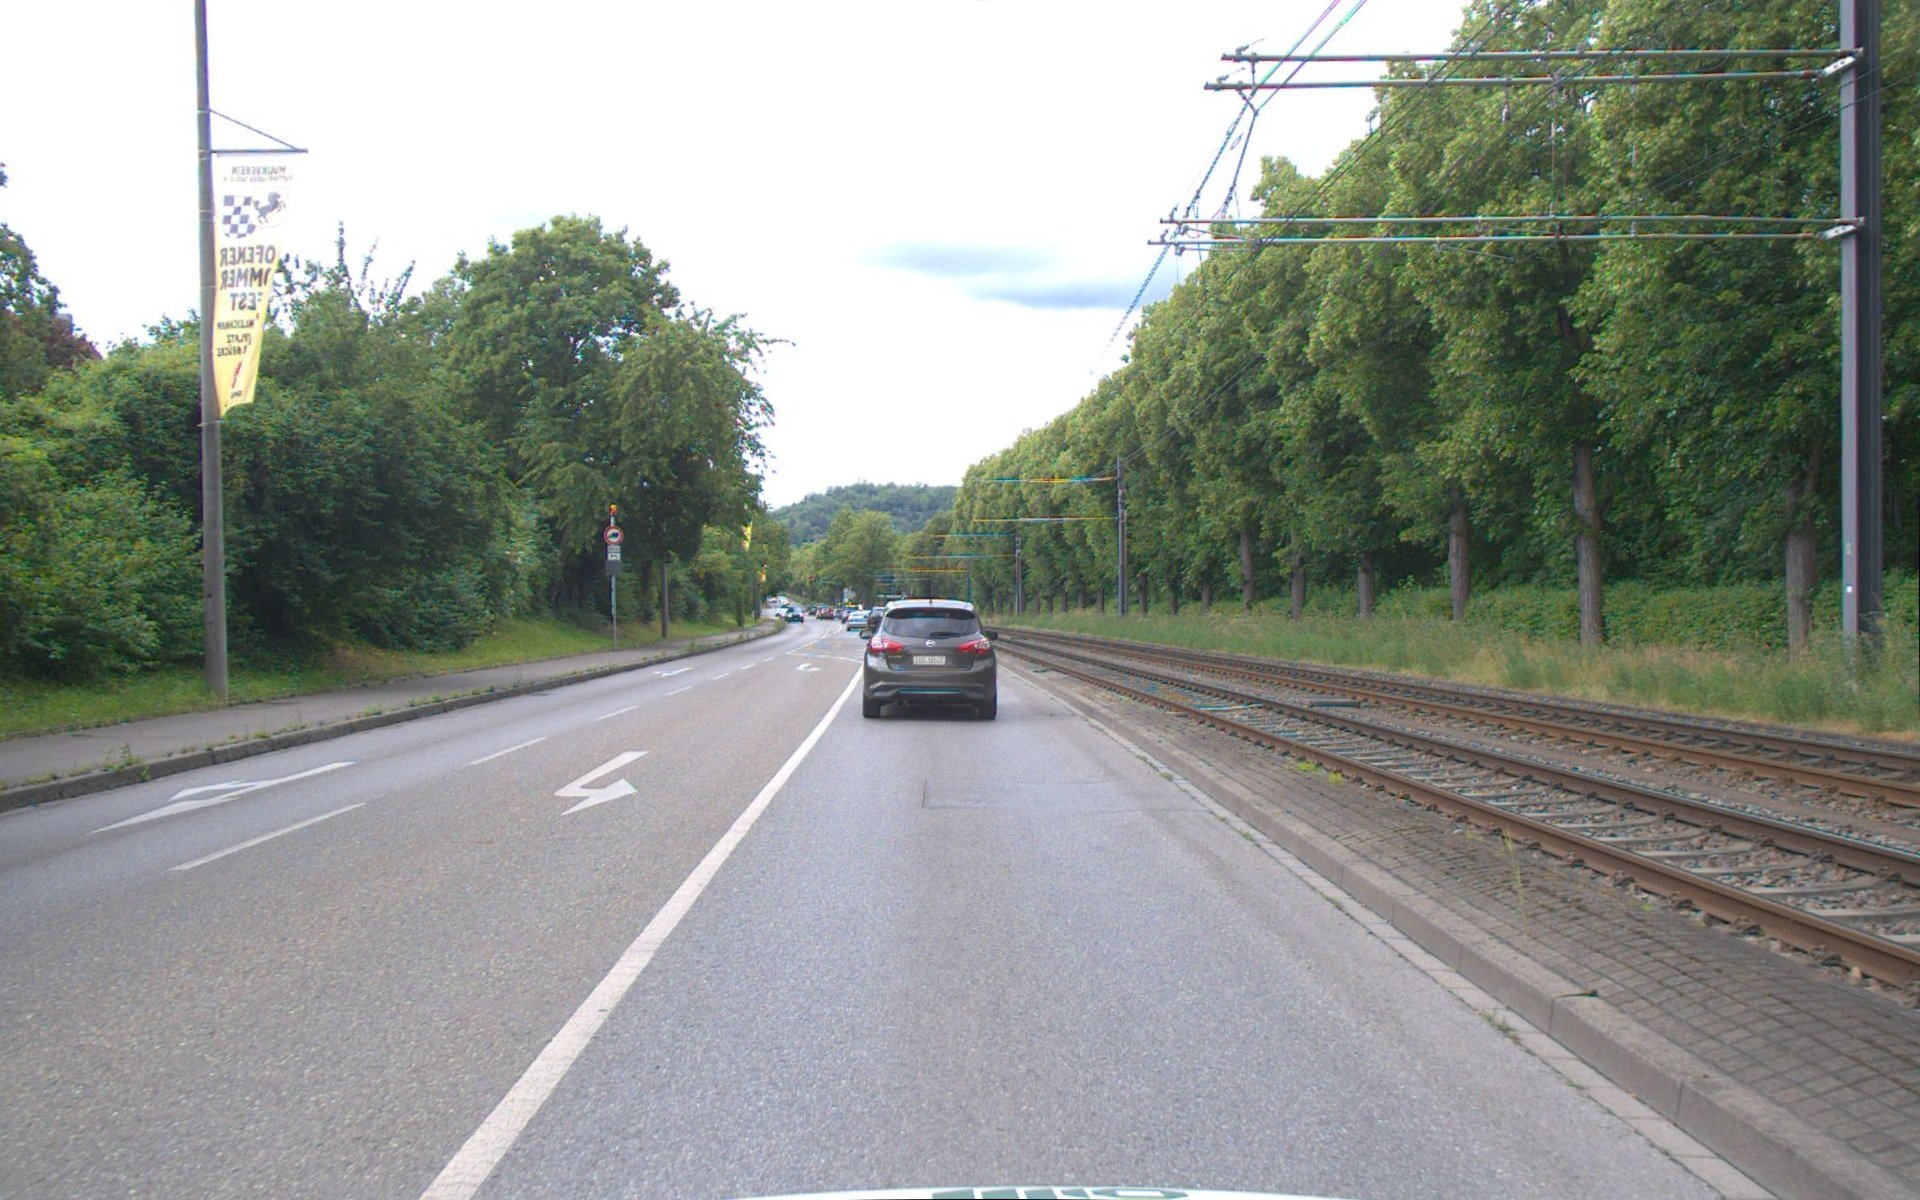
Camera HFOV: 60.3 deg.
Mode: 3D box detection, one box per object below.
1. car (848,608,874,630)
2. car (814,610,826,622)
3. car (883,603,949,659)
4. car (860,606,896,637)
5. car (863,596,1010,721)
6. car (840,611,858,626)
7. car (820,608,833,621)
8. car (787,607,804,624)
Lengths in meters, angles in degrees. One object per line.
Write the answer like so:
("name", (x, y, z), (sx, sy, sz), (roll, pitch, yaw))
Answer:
("car", (-6.677, 1.290, 112.021), (1.665, 1.469, 3.998), (0, -1, -2))
("car", (-21.224, 2.444, 251.265), (1.665, 1.744, 3.998), (0, -1, -2))
("car", (-1.253, 0.833, 45.524), (1.666, 1.469, 3.997), (0, -1, -4))
("car", (-3.910, 1.026, 79.124), (1.665, 1.469, 3.998), (0, -1, -2))
("car", (-0.333, 0.738, 22.652), (1.813, 1.519, 3.999), (1, 0, -1))
("car", (-11.736, 1.989, 175.355), (1.758, 1.537, 3.998), (0, -1, -2))
("car", (-19.265, 2.075, 238.413), (1.665, 1.744, 3.998), (0, -1, -2))
("car", (-20.241, 1.910, 203.437), (1.954, 2.072, 5.111), (0, -1, -5))
